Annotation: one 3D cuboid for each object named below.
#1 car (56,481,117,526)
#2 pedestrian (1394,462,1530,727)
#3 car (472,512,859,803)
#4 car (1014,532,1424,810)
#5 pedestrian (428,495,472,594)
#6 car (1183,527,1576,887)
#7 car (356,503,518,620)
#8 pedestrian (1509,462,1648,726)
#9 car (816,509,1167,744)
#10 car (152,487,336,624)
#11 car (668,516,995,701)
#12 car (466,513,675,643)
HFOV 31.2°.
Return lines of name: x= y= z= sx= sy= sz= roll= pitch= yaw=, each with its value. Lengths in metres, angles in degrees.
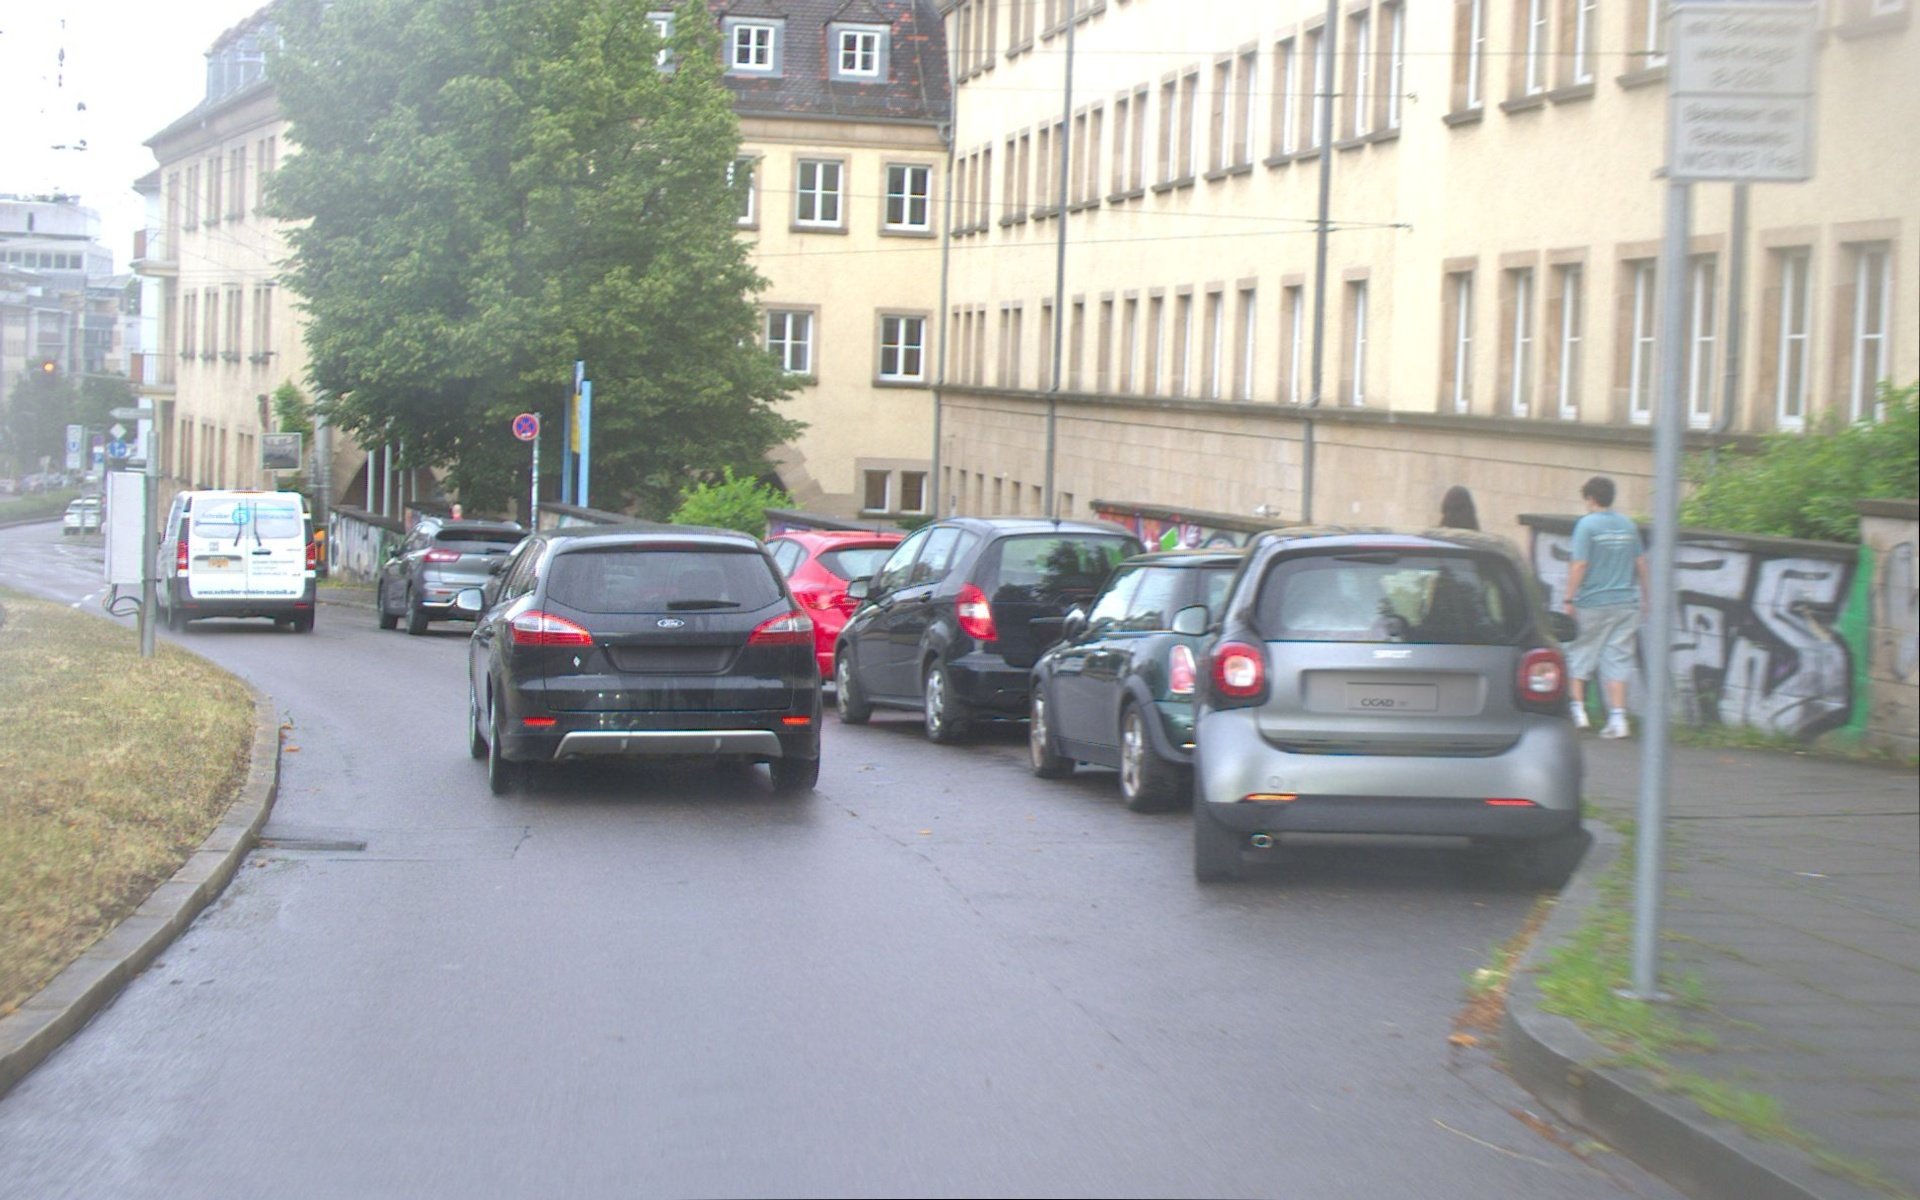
car: x=-35.976 y=-3.982 z=141.714 sx=1.993 sy=1.766 sz=4.001 roll=1 pitch=1 yaw=-8
pedestrian: x=3.359 y=-0.044 z=23.048 sx=0.717 sy=1.748 sz=0.739 roll=0 pitch=1 yaw=-7
car: x=-1.816 y=0.259 z=19.972 sx=1.919 sy=1.474 sz=4.001 roll=1 pitch=2 yaw=-9
car: x=1.378 y=0.329 z=19.653 sx=1.535 sy=1.411 sz=3.645 roll=0 pitch=1 yaw=-9
pedestrian: x=-8.981 y=-0.979 z=60.509 sx=0.632 sy=1.715 sz=0.711 roll=1 pitch=1 yaw=-18
car: x=1.848 y=0.410 z=15.508 sx=1.598 sy=1.460 sz=2.720 roll=0 pitch=1 yaw=5
car: x=-7.120 y=-0.552 z=46.525 sx=1.665 sy=1.519 sz=4.110 roll=0 pitch=1 yaw=-16
pedestrian: x=4.168 y=-0.047 z=23.195 sx=0.717 sy=1.748 sz=0.739 roll=0 pitch=1 yaw=-7
car: x=0.142 y=0.131 z=25.045 sx=1.665 sy=1.567 sz=3.857 roll=0 pitch=1 yaw=-13
car: x=-9.719 y=-0.631 z=46.432 sx=2.136 sy=1.739 sz=4.220 roll=0 pitch=2 yaw=-16
car: x=-1.211 y=0.034 z=30.242 sx=1.665 sy=1.471 sz=4.067 roll=2 pitch=1 yaw=-20
car: x=-4.704 y=-0.302 z=41.085 sx=1.665 sy=1.471 sz=4.110 roll=0 pitch=1 yaw=-19
